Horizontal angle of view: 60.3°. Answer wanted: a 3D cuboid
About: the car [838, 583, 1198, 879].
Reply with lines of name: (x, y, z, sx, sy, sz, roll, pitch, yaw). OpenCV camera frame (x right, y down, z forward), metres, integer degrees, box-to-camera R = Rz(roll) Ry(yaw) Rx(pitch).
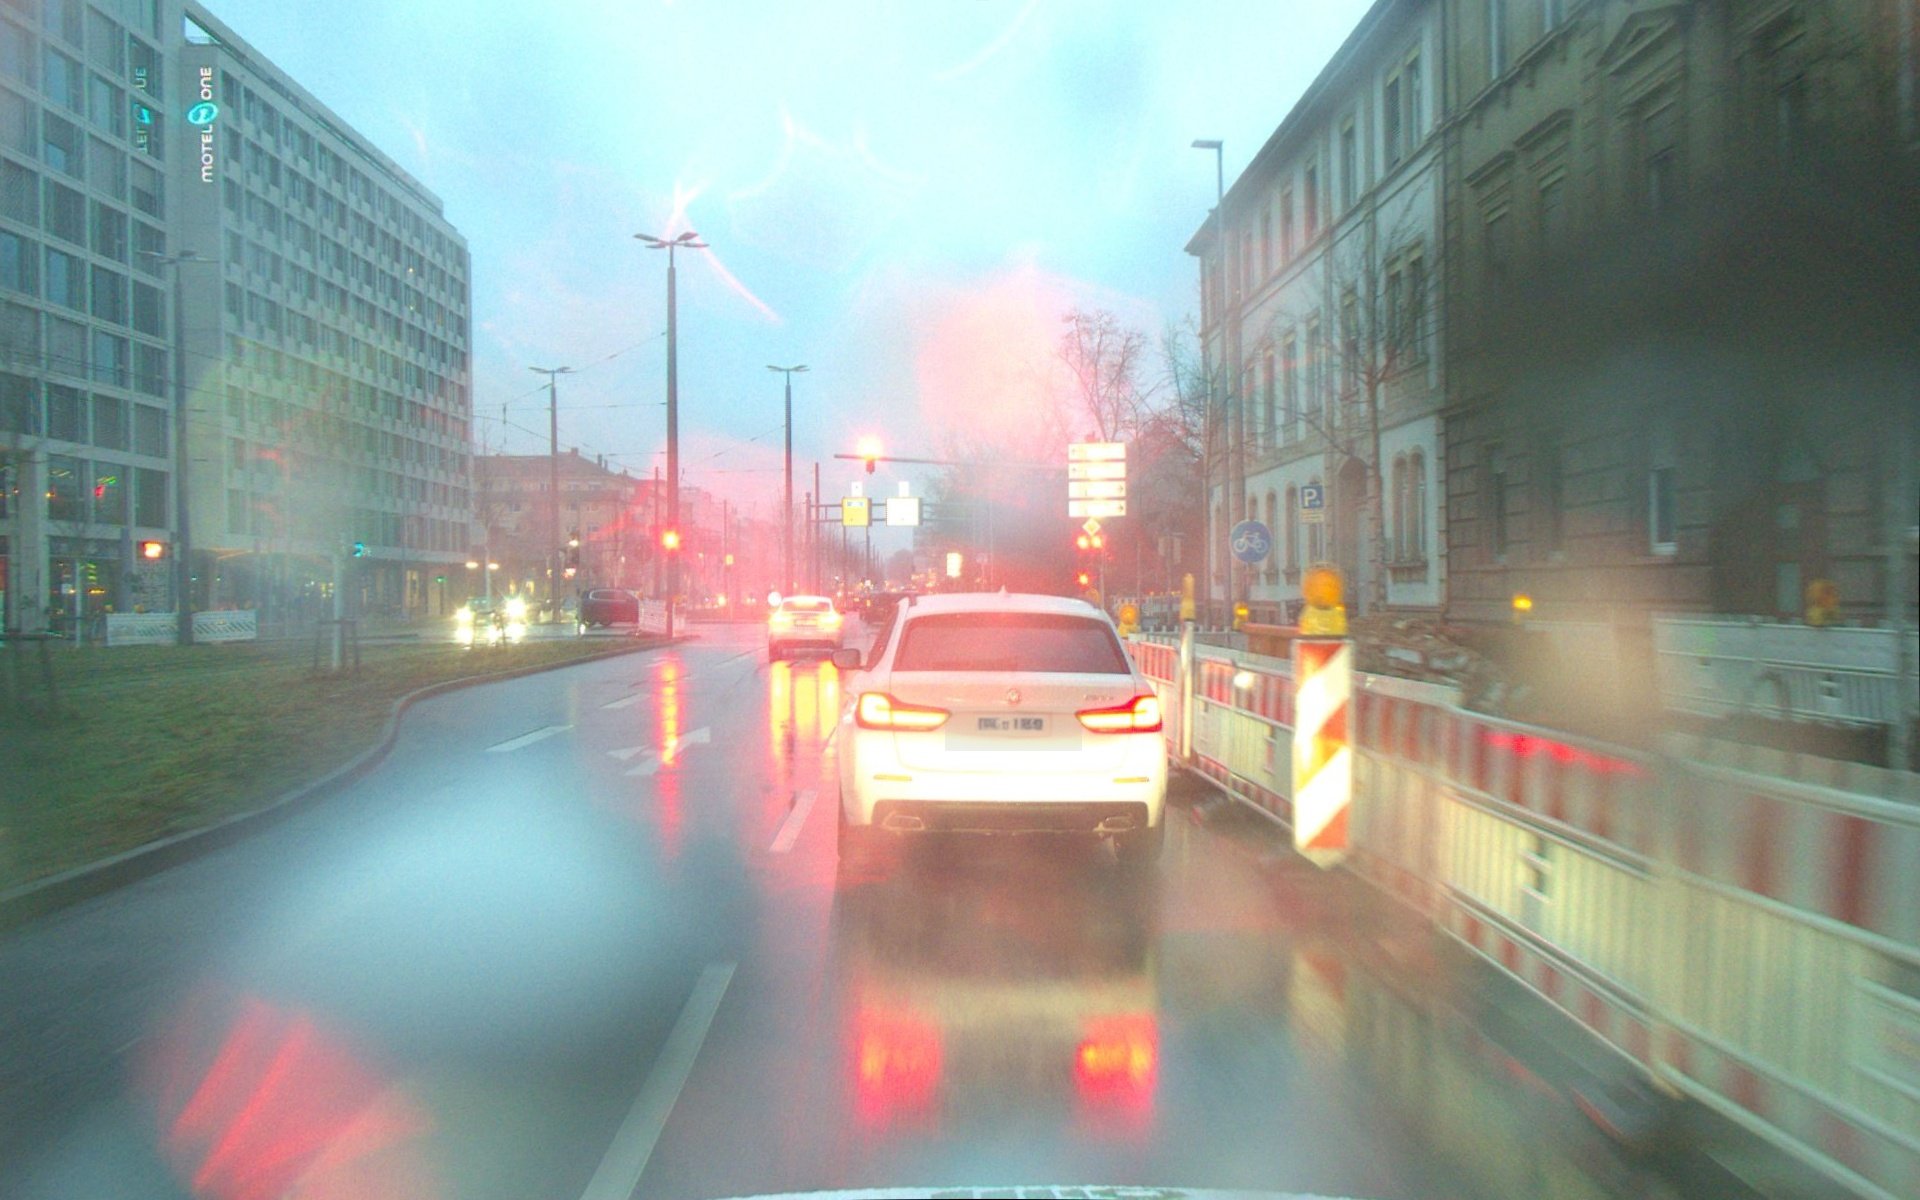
car: (0.209, 0.656, 10.871, 1.815, 1.491, 4.945, 1, 0, -2)

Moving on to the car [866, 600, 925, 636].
car: (-3.129, 0.855, 79.855, 1.871, 1.670, 3.981, 1, 0, -17)

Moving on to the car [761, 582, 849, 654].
car: (-3.763, 0.403, 40.744, 1.862, 1.670, 3.999, 1, 0, -1)

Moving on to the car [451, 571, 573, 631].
car: (-15.579, 0.034, 57.460, 3.928, 2.009, 1.988, 1, 0, -20)

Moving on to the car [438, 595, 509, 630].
car: (-22.232, 0.569, 75.554, 1.732, 1.518, 3.485, 0, 0, -44)

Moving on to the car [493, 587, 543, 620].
car: (-23.023, 0.168, 86.219, 1.821, 1.668, 4.028, 1, 0, -5)

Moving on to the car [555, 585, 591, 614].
car: (-23.191, -0.024, 99.252, 1.529, 1.688, 3.393, 1, 0, -4)

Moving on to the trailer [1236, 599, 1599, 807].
trailer: (3.415, 0.698, 13.036, 1.813, 1.369, 3.527, 0, 0, -2)

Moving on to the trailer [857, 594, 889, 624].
trailer: (-5.110, 0.500, 96.968, 1.798, 1.672, 3.997, 1, 0, -4)

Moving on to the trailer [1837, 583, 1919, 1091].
trailer: (3.812, 0.720, 2.984, 1.798, 1.516, 4.846, 0, 1, -2)
